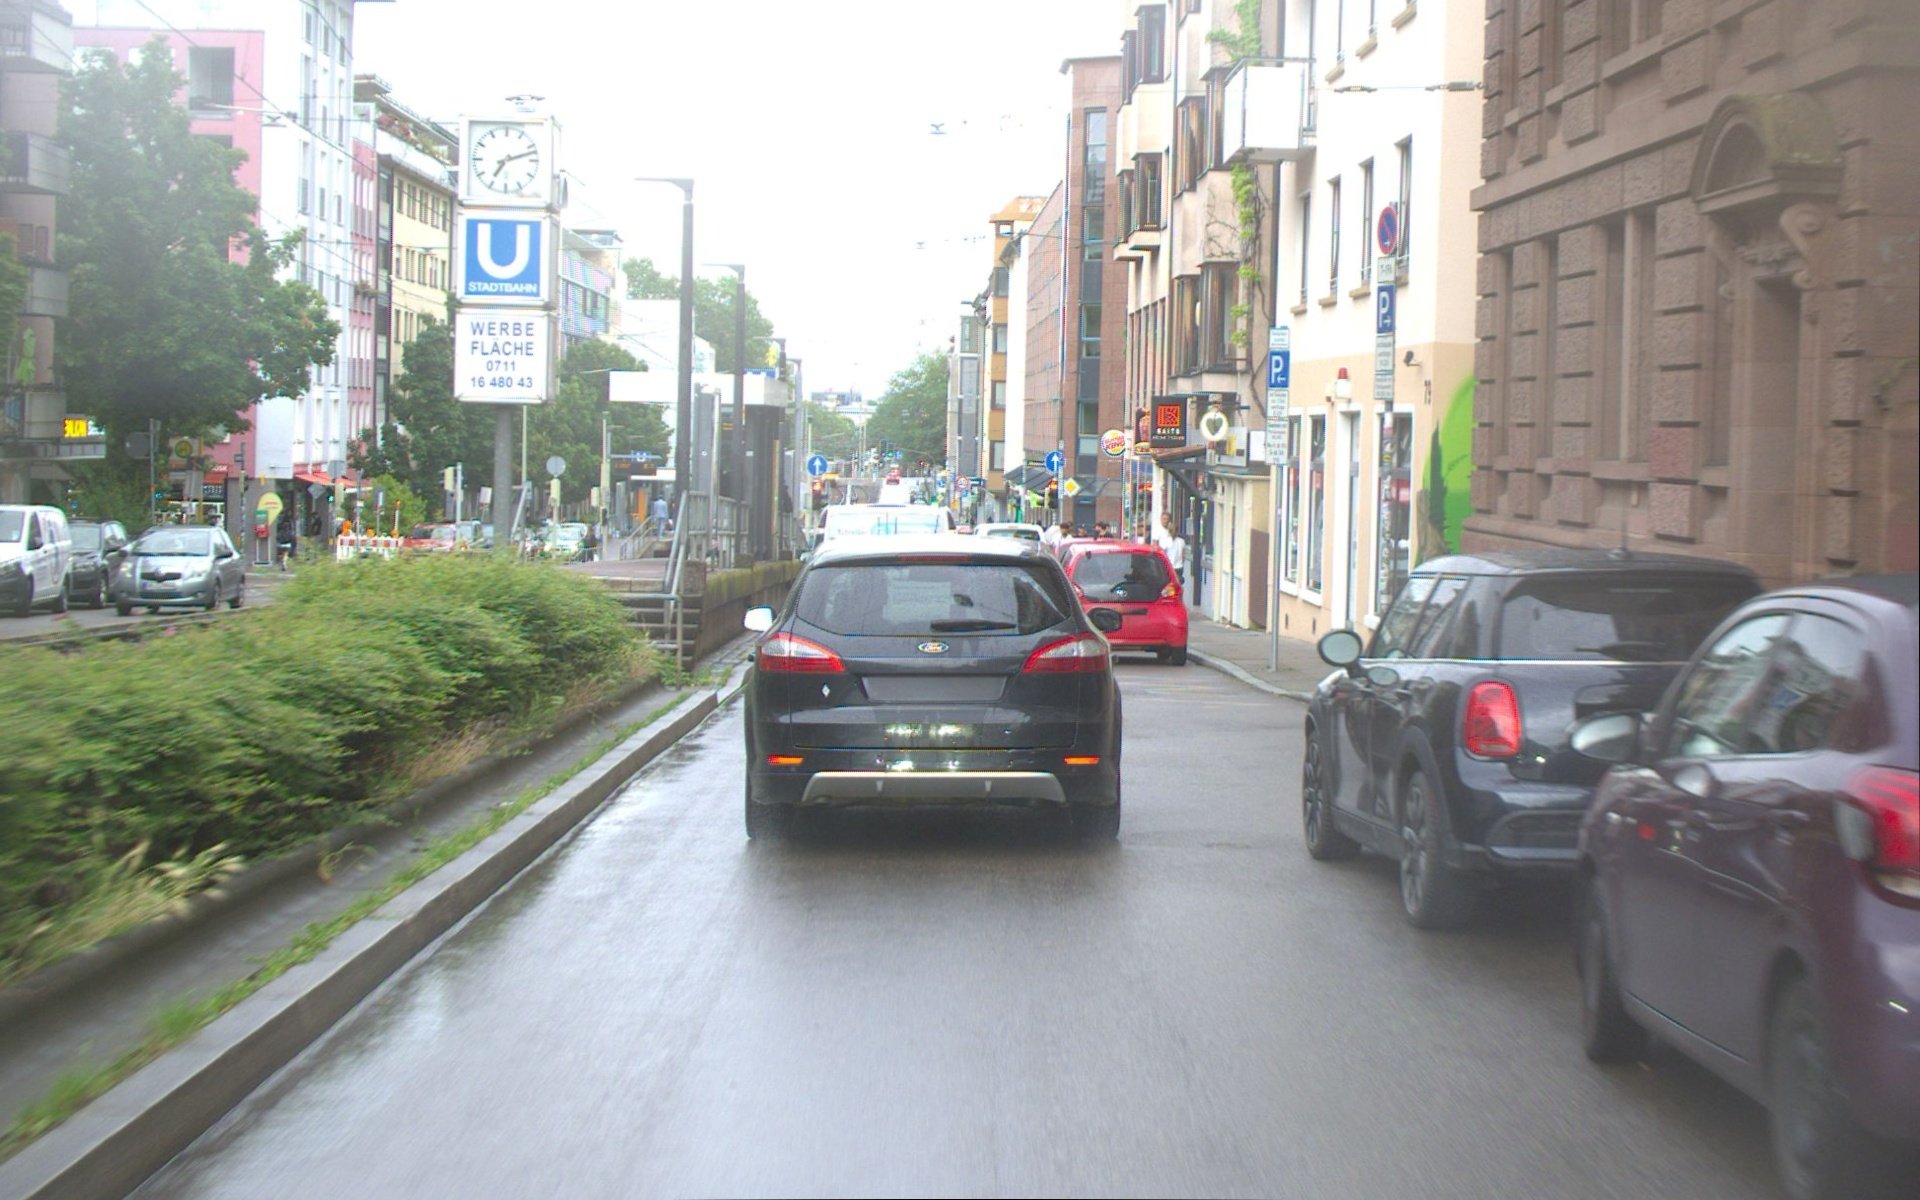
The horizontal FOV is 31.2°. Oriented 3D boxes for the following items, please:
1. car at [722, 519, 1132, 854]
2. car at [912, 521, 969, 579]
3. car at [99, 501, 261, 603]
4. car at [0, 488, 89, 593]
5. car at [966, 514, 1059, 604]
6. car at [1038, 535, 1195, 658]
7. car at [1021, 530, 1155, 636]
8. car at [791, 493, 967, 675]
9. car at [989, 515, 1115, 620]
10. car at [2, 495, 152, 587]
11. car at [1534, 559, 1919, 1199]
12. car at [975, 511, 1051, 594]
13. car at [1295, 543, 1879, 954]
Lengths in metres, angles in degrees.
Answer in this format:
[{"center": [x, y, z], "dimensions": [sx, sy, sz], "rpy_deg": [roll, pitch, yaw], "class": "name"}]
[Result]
[{"center": [-0.251, 0.364, 17.533], "dimensions": [1.842, 1.502, 4.001], "rpy_deg": [0, 1, -3], "class": "car"}, {"center": [-0.745, -1.874, 130.326], "dimensions": [1.993, 2.007, 4.000], "rpy_deg": [3, 0, -1], "class": "car"}, {"center": [-13.339, -0.793, 58.995], "dimensions": [1.855, 1.631, 4.046], "rpy_deg": [2, 0, -1], "class": "car"}, {"center": [-15.886, -0.967, 56.609], "dimensions": [1.855, 1.631, 4.935], "rpy_deg": [2, 0, -1], "class": "car"}, {"center": [1.116, -0.874, 74.662], "dimensions": [1.839, 1.775, 3.779], "rpy_deg": [3, 0, -1], "class": "car"}, {"center": [1.881, -0.071, 42.125], "dimensions": [1.670, 1.416, 3.476], "rpy_deg": [1, 1, -1], "class": "car"}, {"center": [1.775, -0.262, 48.637], "dimensions": [1.670, 1.416, 3.476], "rpy_deg": [1, 1, -1], "class": "car"}, {"center": [-0.952, -0.252, 42.009], "dimensions": [1.988, 2.053, 4.645], "rpy_deg": [1, 2, 0], "class": "car"}, {"center": [1.496, -0.516, 57.205], "dimensions": [1.858, 1.579, 3.779], "rpy_deg": [3, 0, -1], "class": "car"}, {"center": [-16.129, -1.049, 62.961], "dimensions": [1.695, 1.568, 4.046], "rpy_deg": [2, 0, -1], "class": "car"}, {"center": [2.615, 0.645, 8.798], "dimensions": [1.649, 1.454, 3.476], "rpy_deg": [1, 1, -1], "class": "car"}, {"center": [1.230, -1.099, 80.646], "dimensions": [1.591, 1.775, 3.779], "rpy_deg": [3, 0, -1], "class": "car"}, {"center": [2.445, 0.506, 14.281], "dimensions": [1.577, 1.454, 3.822], "rpy_deg": [1, 1, -2], "class": "car"}]
